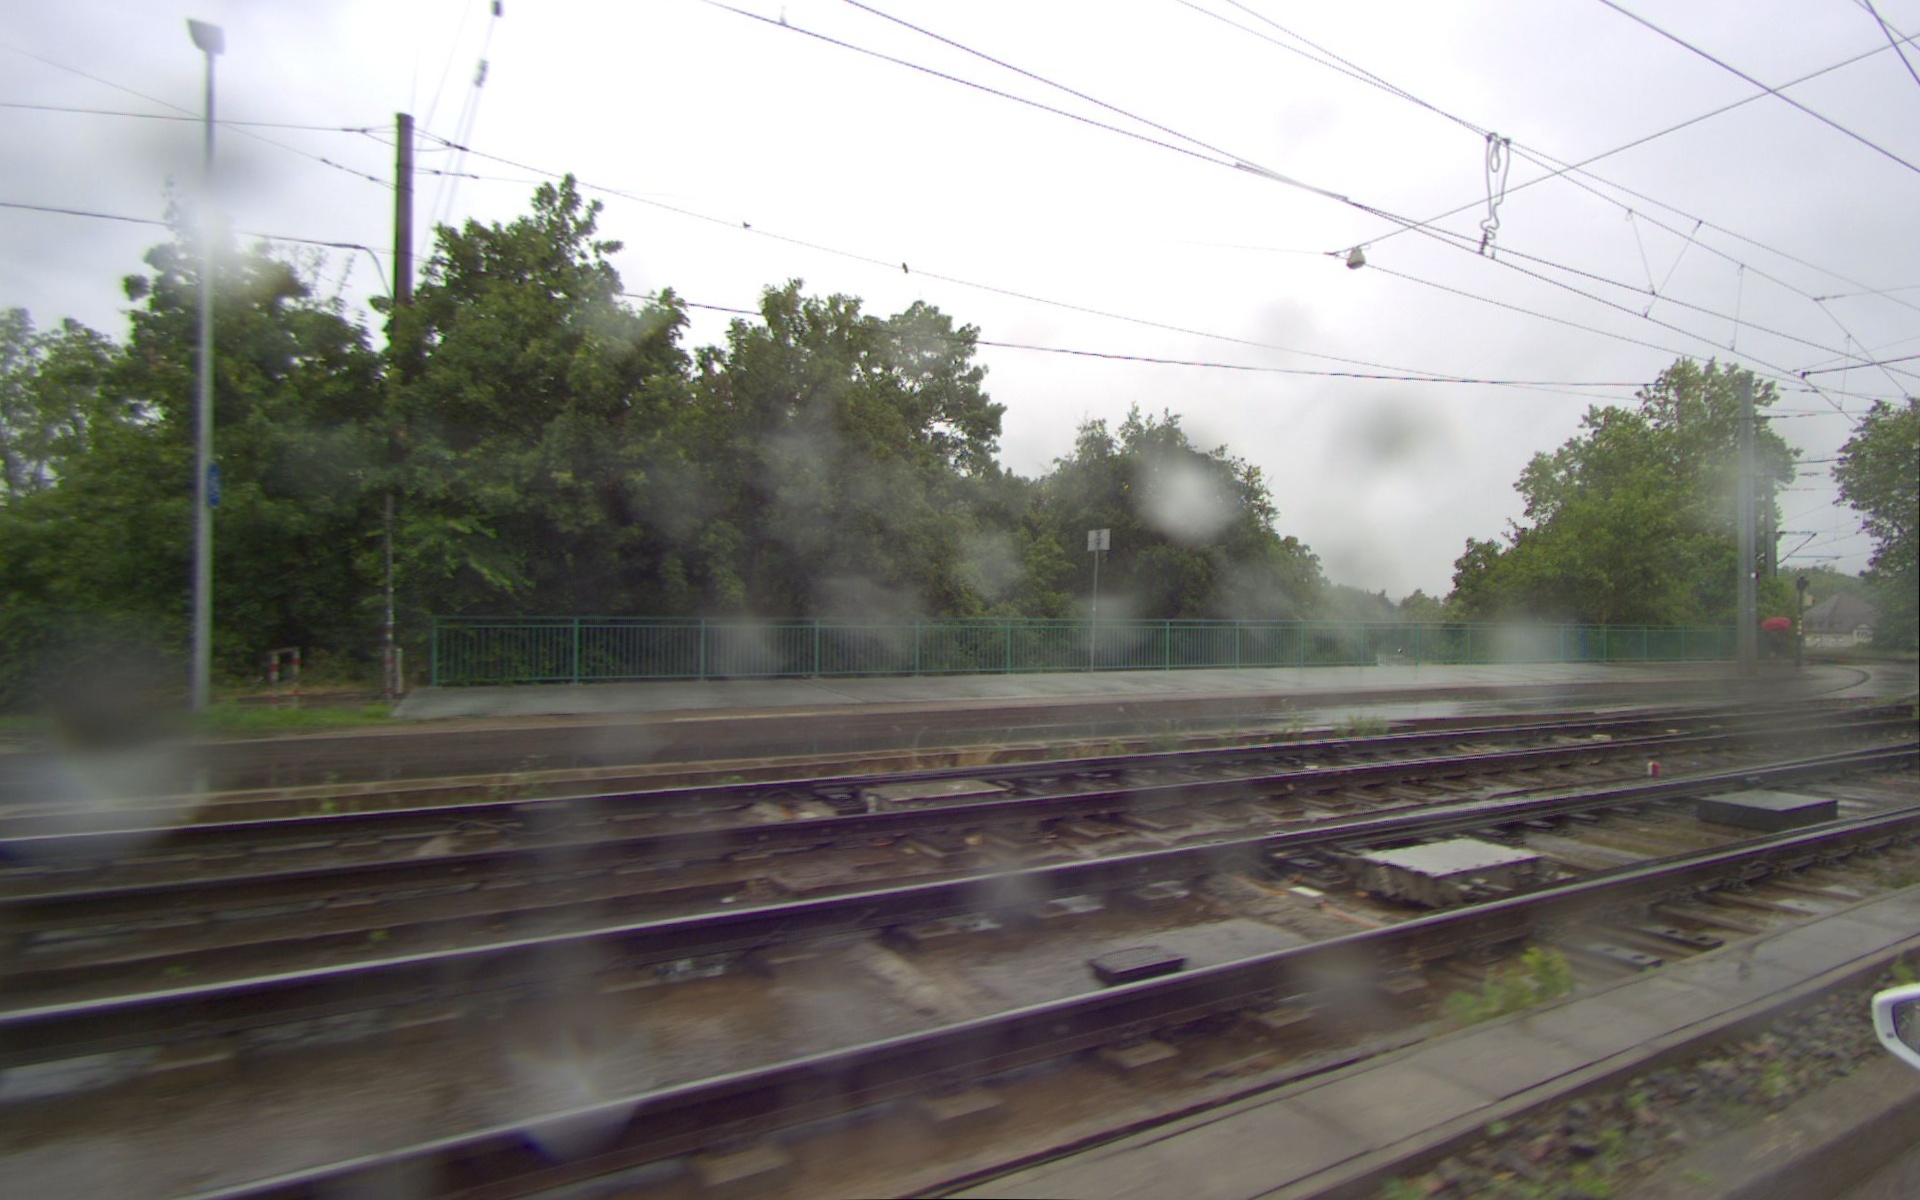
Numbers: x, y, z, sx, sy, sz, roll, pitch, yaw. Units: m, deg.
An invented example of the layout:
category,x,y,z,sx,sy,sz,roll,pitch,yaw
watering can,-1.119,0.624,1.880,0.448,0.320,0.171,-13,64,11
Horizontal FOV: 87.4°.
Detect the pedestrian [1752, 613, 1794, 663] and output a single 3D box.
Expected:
category,x,y,z,sx,sy,sz,roll,pitch,yaw
pedestrian,30.840,1.437,38.091,1.030,1.843,0.861,2,0,-28
